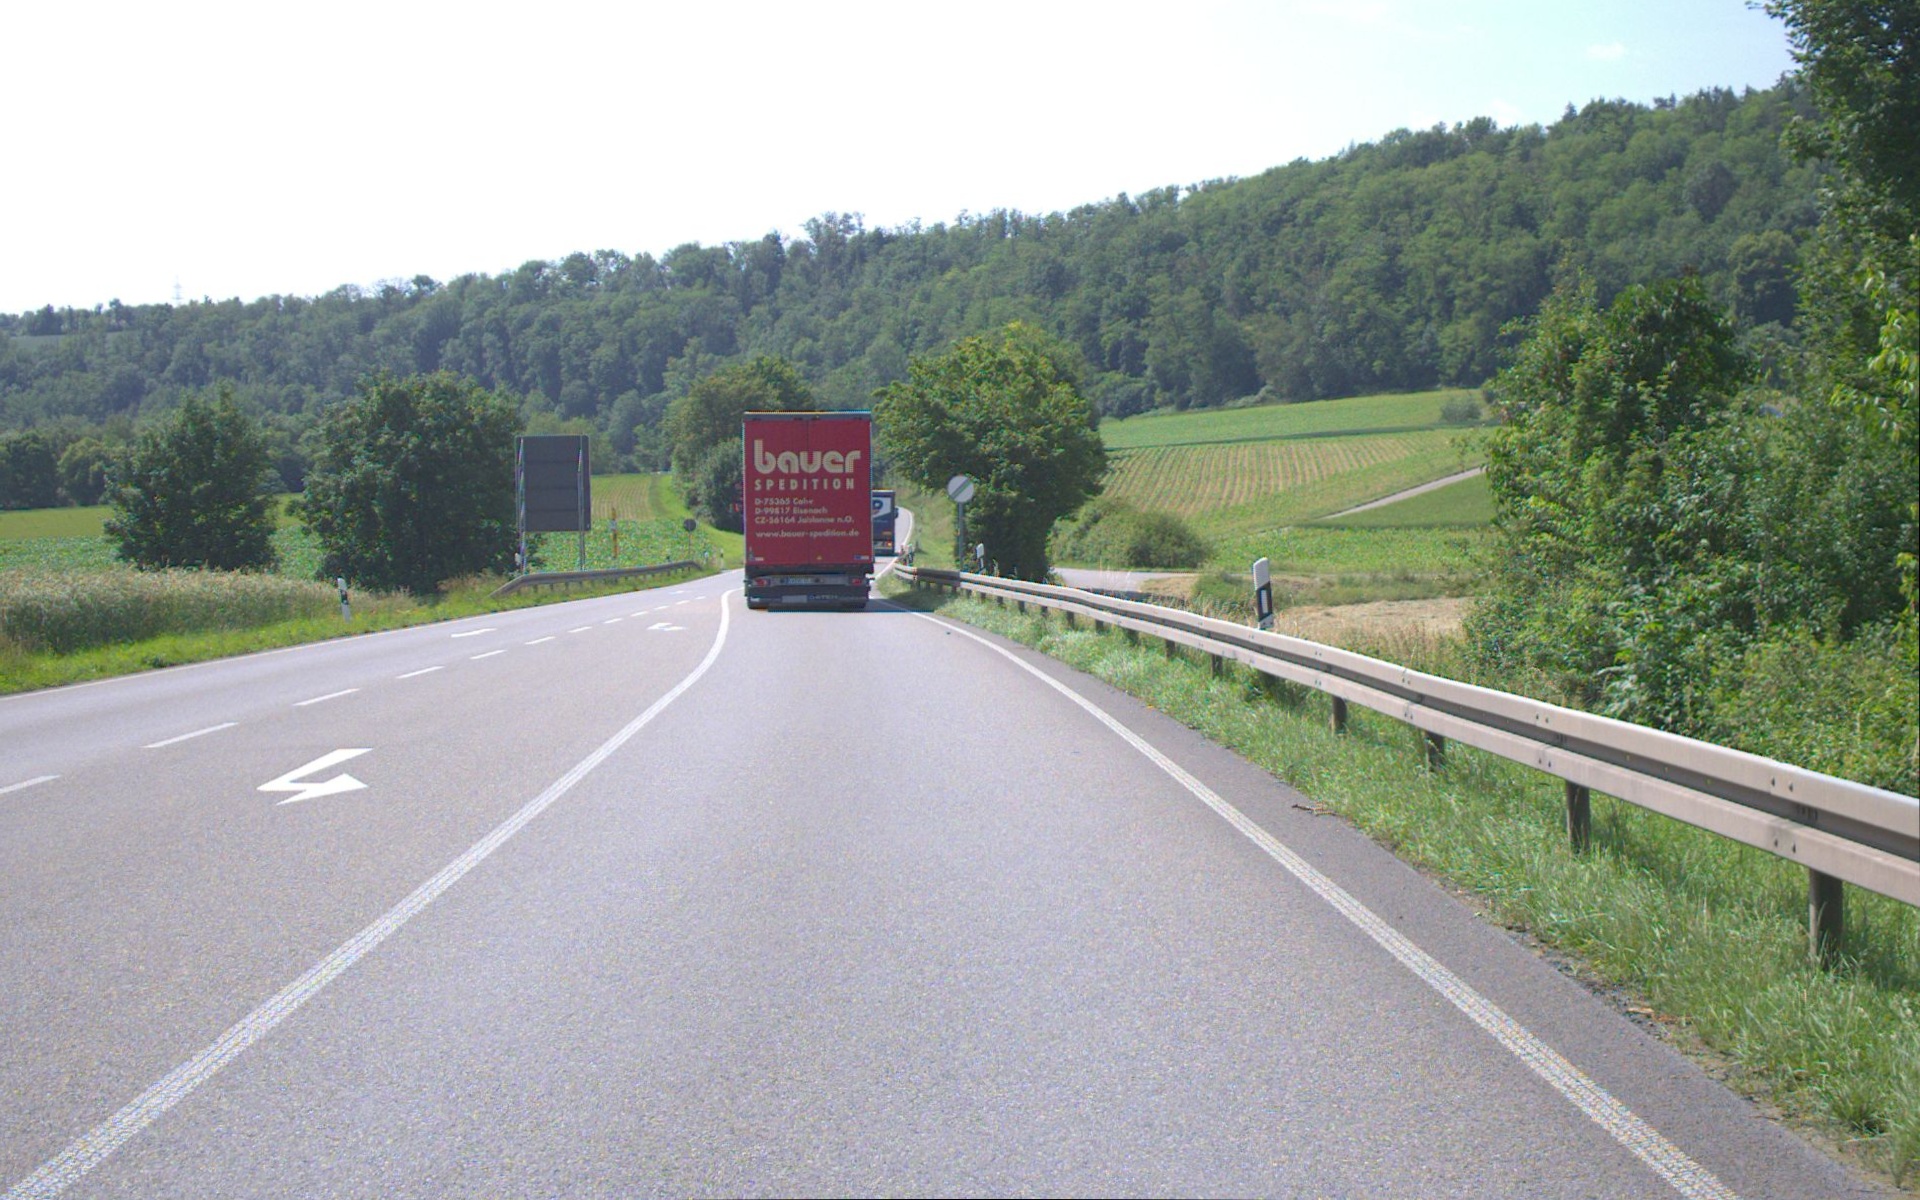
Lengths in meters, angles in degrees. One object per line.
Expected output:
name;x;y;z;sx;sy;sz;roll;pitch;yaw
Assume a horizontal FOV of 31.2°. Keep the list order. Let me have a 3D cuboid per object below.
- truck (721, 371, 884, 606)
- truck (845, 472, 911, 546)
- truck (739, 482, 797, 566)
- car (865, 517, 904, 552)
truck;-3.383;-2.367;74.506;3.172;4.609;13.545;0;1;-2
truck;-5.208;-5.684;217.201;3.905;4.354;13.294;2;1;-1
truck;-9.676;-3.804;173.404;2.530;4.105;6.021;-2;1;-1
car;-4.091;-3.555;186.419;1.993;1.804;4.000;3;1;-2
